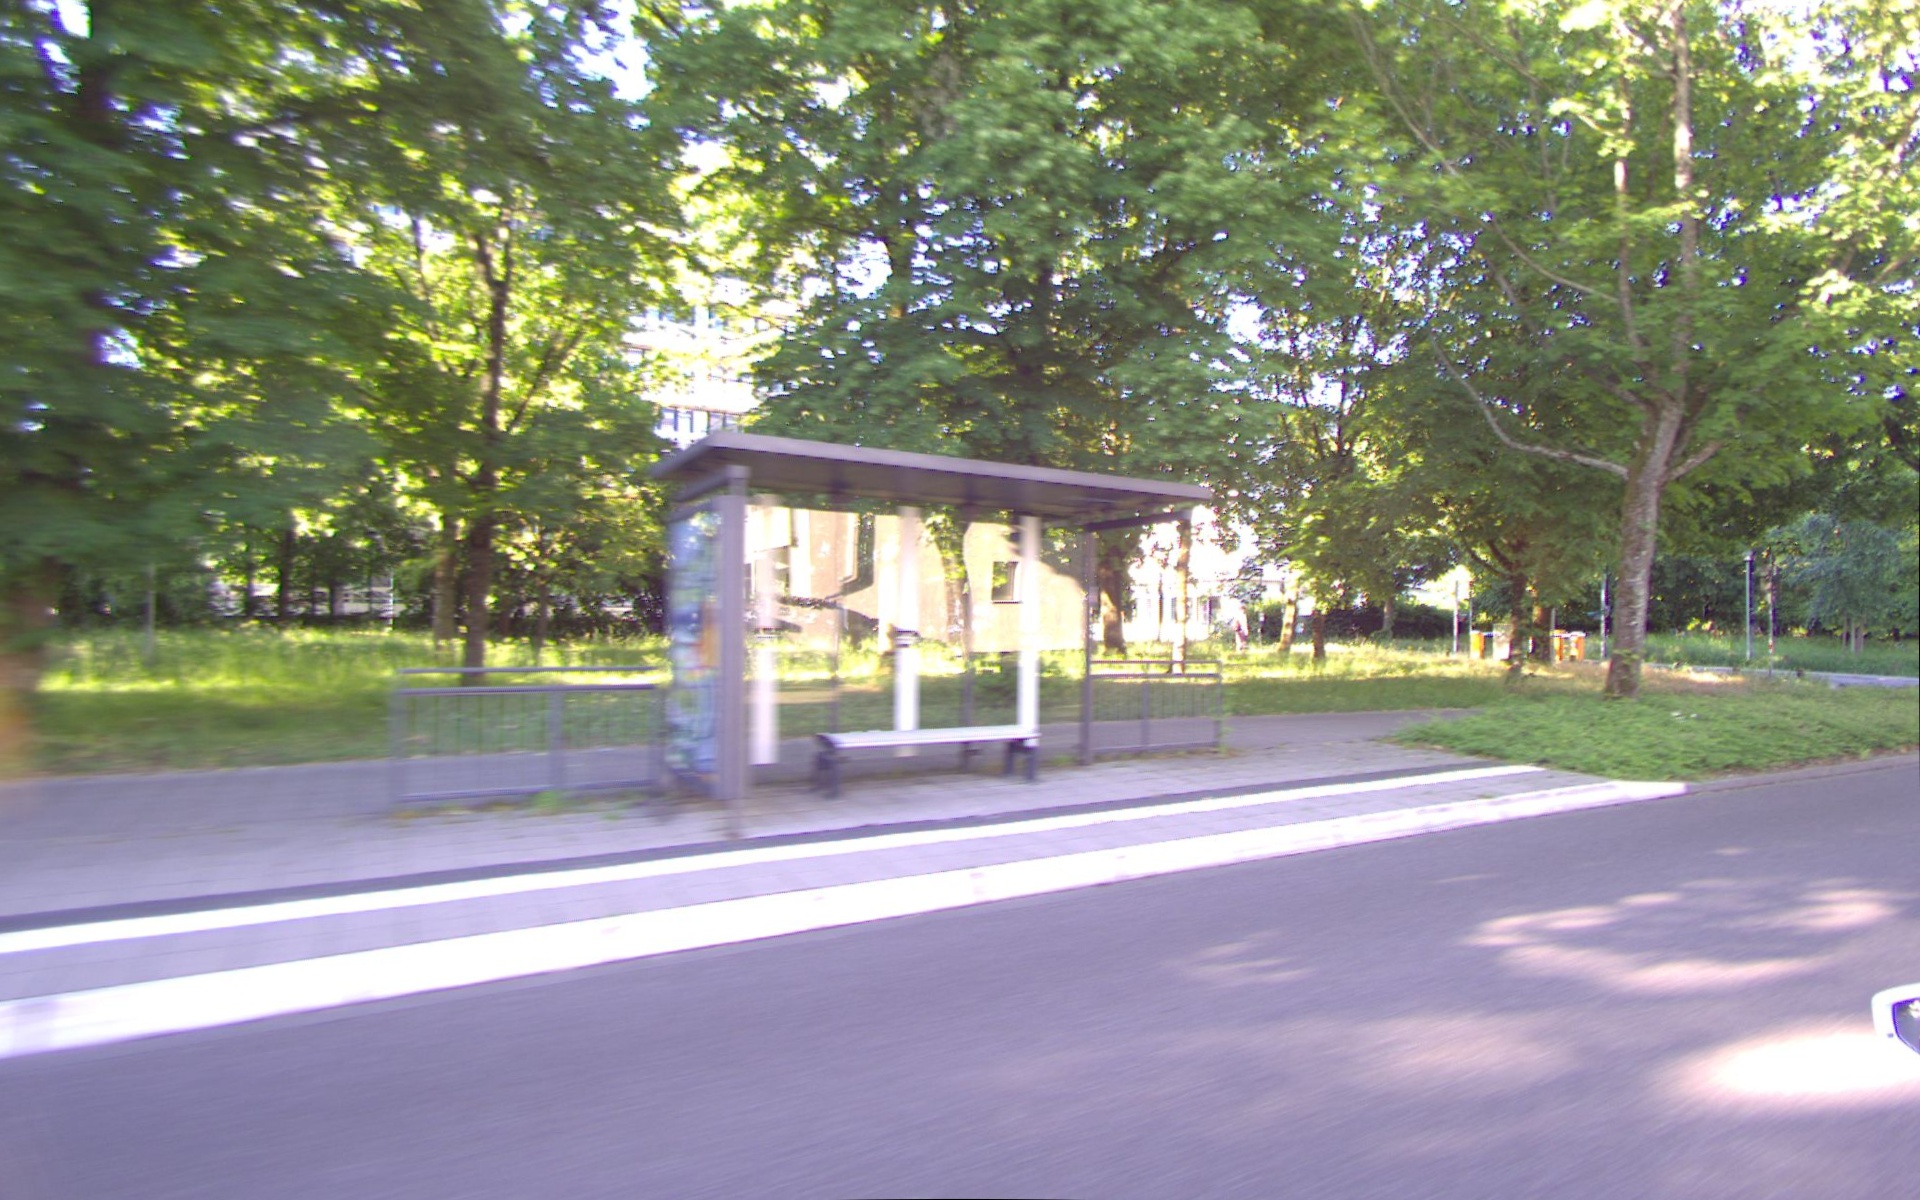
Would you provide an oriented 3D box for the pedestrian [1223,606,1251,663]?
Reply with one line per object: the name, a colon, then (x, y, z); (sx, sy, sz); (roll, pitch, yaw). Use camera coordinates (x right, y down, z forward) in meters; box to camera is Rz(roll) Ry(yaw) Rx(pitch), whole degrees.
pedestrian: (10.021, 1.248, 36.348); (0.583, 2.040, 0.753); (1, 0, -30)
